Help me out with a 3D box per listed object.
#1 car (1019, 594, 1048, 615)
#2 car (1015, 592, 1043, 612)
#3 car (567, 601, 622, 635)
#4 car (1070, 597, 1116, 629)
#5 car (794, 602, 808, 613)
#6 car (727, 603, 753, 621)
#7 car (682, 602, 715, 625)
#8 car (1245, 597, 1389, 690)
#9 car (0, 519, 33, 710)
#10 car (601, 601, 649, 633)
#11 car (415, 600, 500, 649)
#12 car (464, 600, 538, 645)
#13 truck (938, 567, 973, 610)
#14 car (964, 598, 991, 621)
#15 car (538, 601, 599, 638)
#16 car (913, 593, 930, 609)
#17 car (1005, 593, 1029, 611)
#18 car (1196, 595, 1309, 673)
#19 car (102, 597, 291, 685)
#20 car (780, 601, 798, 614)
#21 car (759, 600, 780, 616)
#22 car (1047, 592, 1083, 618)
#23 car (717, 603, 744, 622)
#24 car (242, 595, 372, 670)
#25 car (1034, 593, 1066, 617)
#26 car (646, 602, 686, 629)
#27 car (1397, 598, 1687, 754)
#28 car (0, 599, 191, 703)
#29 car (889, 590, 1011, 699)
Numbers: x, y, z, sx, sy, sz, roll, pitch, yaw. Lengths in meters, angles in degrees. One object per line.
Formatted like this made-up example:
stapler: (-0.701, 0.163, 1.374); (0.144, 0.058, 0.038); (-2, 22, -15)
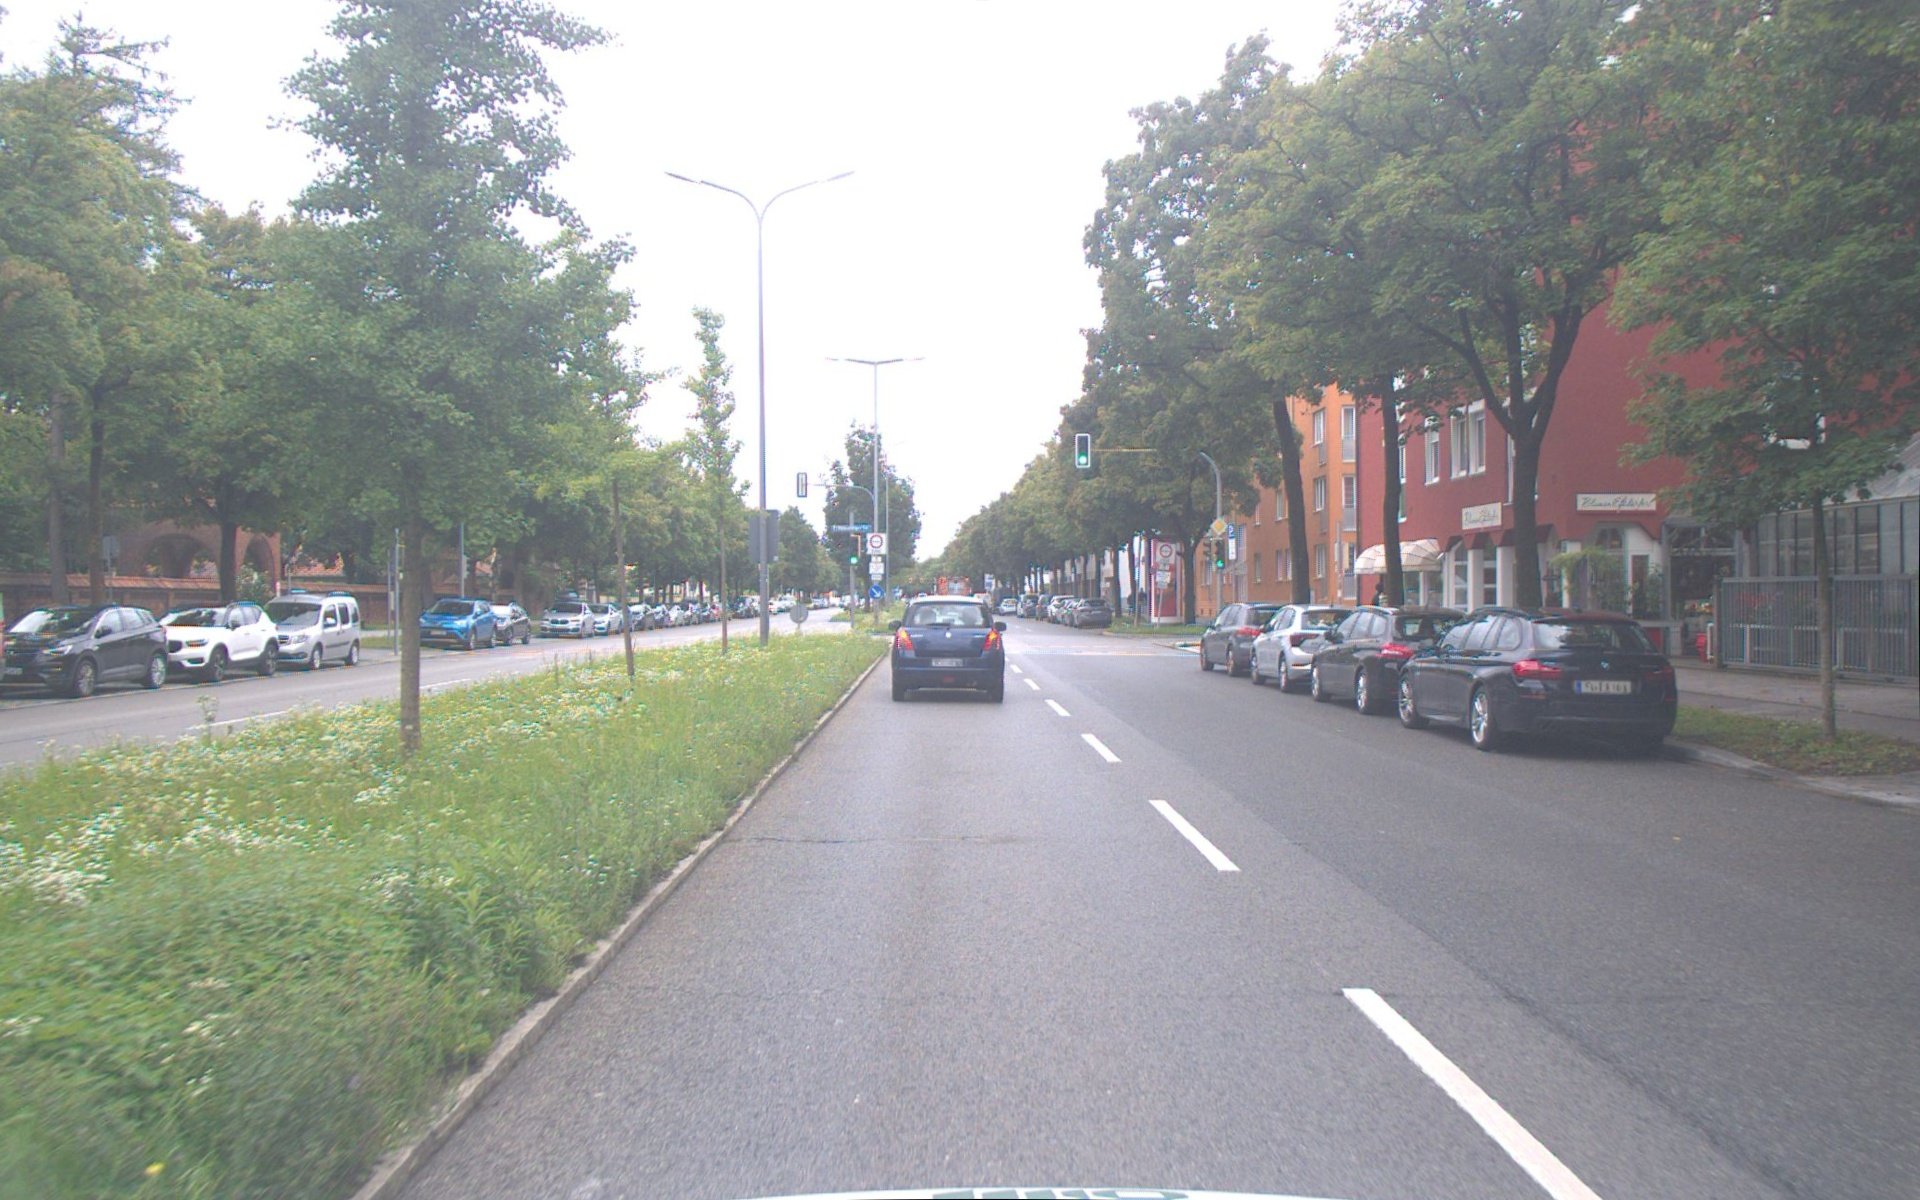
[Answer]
car: (5.577, 0.349, 125.724); (1.953, 1.557, 3.999); (-1, 0, -1)
car: (5.408, 0.130, 130.175); (1.953, 1.557, 3.999); (-1, 0, -1)
car: (-17.354, 0.837, 78.667); (1.765, 1.561, 3.999); (-1, 0, -1)
car: (6.764, 0.642, 84.364); (1.953, 1.557, 3.999); (-1, 0, -1)
car: (-23.925, 1.089, 249.683); (1.765, 1.561, 3.999); (-1, 0, -1)
car: (-19.657, 1.044, 148.105); (1.764, 1.561, 4.000); (1, 0, 0)
car: (-18.481, 0.963, 116.934); (1.765, 1.561, 3.999); (0, 0, -1)
car: (6.103, 0.698, 28.679); (1.660, 1.477, 4.123); (-1, 0, 1)
car: (-16.066, 0.226, 23.888); (2.142, 3.005, 6.188); (0, 0, -3)
car: (-17.517, 0.874, 86.624); (1.765, 1.561, 3.999); (-1, 0, -1)
car: (-16.773, 0.793, 55.384); (1.672, 1.561, 3.999); (-1, 0, -1)
car: (-16.965, 0.800, 61.297); (1.672, 1.561, 3.999); (-1, 0, -1)
truck: (-0.364, -1.006, 148.450); (2.979, 3.619, 13.674); (0, 0, 0)
car: (1.249, 0.647, 118.068); (1.784, 1.503, 4.690); (2, 0, -1)
car: (-17.090, 0.831, 72.306); (1.765, 1.561, 3.999); (-1, 0, -1)
car: (-3.735, 0.102, 161.729); (1.683, 1.527, 4.300); (0, 0, -1)
car: (5.149, 0.162, 149.368); (1.953, 1.557, 3.999); (-1, 0, -1)
car: (5.960, 0.653, 34.119); (1.660, 1.477, 4.123); (-1, 0, 1)
car: (-16.365, 0.828, 35.726); (2.142, 1.766, 4.575); (0, 0, -3)
car: (-20.972, 0.936, 203.101); (1.765, 1.561, 3.999); (-1, 0, -1)
car: (-20.026, 0.848, 174.290); (1.765, 1.561, 3.999); (-1, 0, -1)
car: (6.480, 0.317, 102.528); (1.953, 1.557, 3.999); (-1, 0, -1)
car: (-19.800, 1.045, 142.710); (1.765, 1.561, 3.999); (-1, 0, -1)
car: (-16.182, 0.757, 41.177); (1.672, 1.764, 3.999); (-1, 0, -1)
car: (6.126, 0.328, 112.884); (1.953, 1.557, 3.999); (-1, 0, -1)
car: (-17.955, 0.912, 101.020); (1.765, 1.561, 3.999); (-1, 0, -1)
car: (6.234, 0.729, 18.309); (1.619, 1.477, 4.709); (-1, 0, 1)
car: (-16.251, 0.872, 30.563); (2.142, 1.766, 4.575); (0, 0, -3)
car: (-0.137, 0.619, 25.323); (1.717, 1.531, 4.000); (0, 0, 0)
